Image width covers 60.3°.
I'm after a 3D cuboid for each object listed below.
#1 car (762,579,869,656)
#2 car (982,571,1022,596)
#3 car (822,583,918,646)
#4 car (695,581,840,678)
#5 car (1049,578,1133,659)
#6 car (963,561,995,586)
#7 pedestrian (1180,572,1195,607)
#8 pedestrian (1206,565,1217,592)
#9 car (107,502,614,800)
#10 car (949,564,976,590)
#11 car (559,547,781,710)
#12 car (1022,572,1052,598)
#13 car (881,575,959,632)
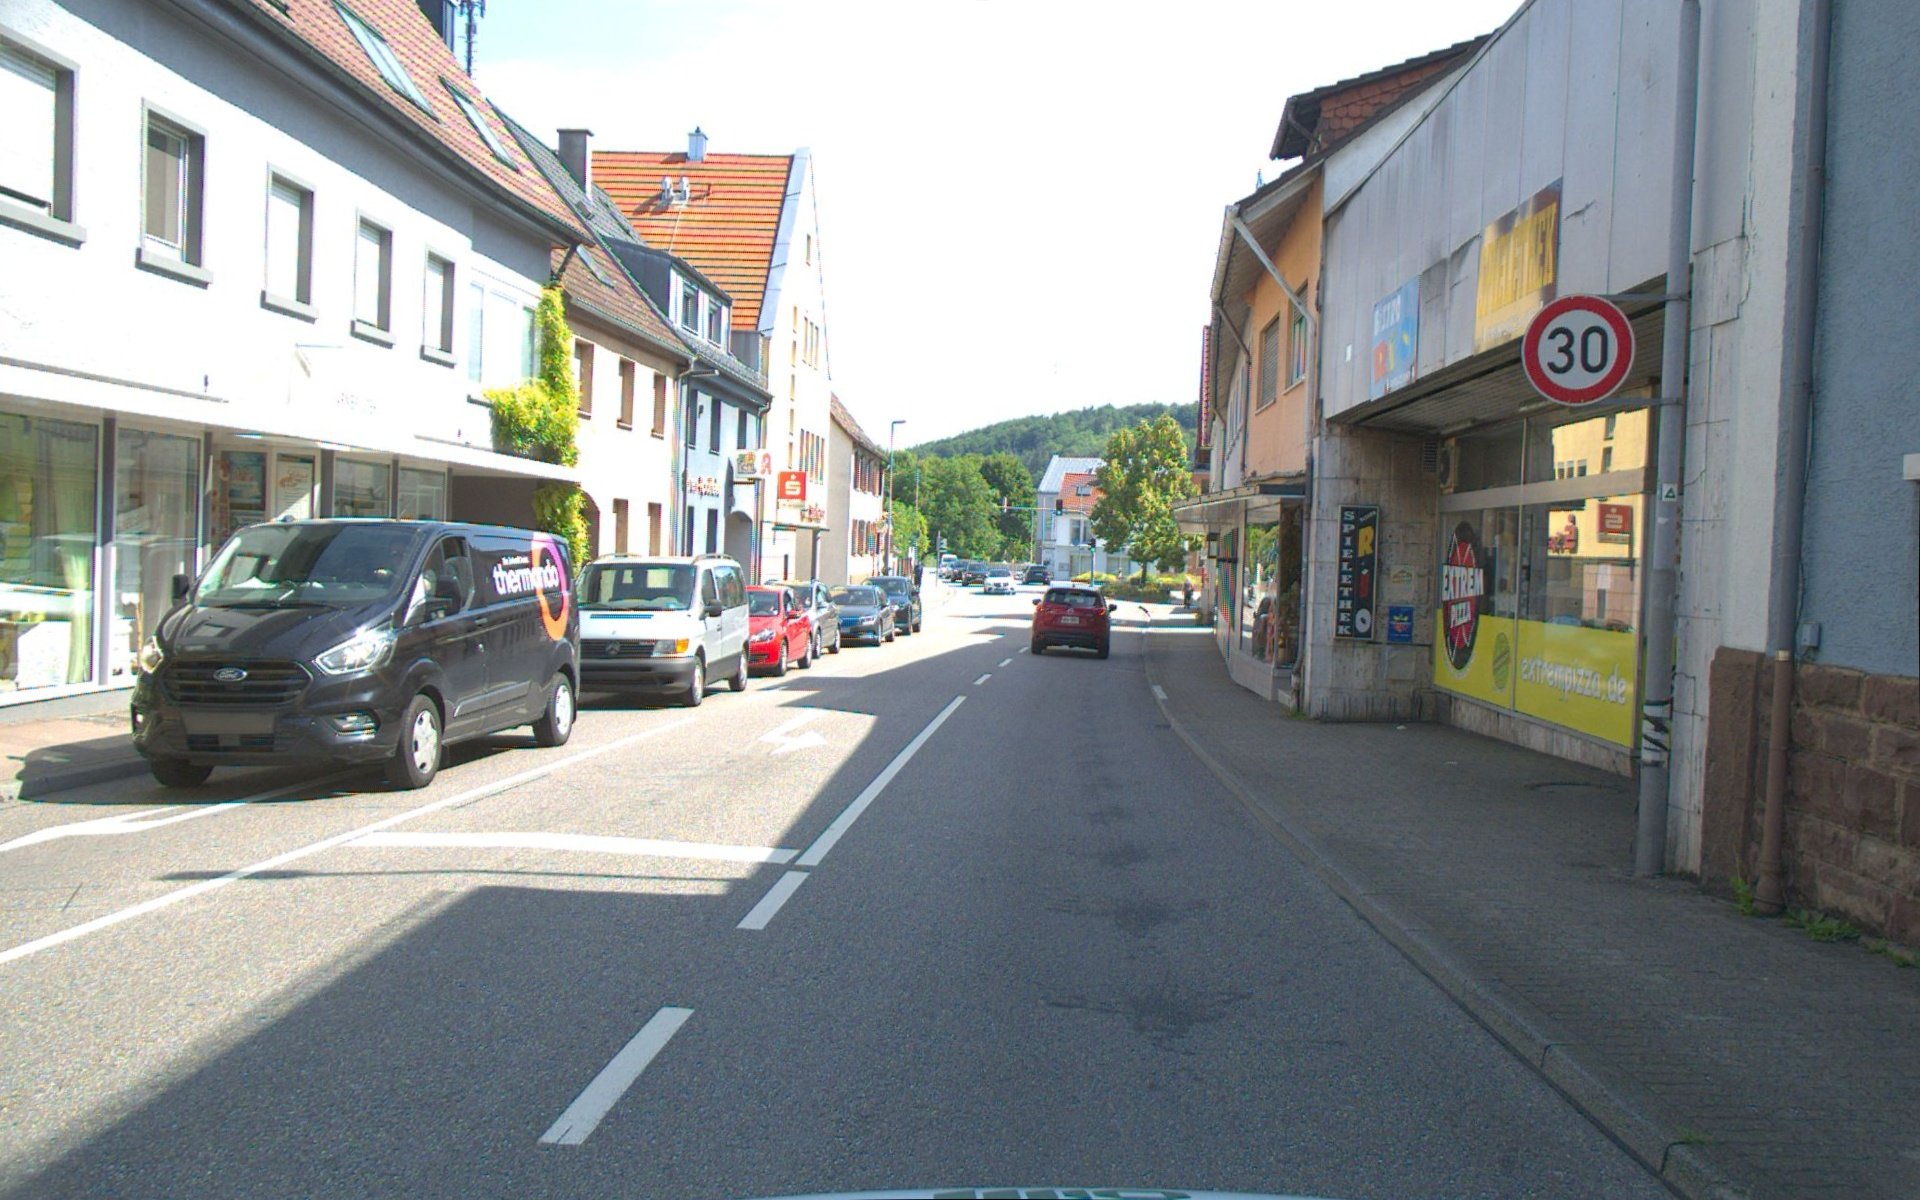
[{"bbox_3d":[-3.039,0.332,35.543,1.594,1.547,4.022,1,1,5],"label":"car"},{"bbox_3d":[2.572,-1.004,100.325,1.945,1.469,5.105,1,1,6],"label":"car"},{"bbox_3d":[-2.200,0.326,41.445,1.751,1.476,4.427,1,1,5],"label":"car"},{"bbox_3d":[-3.225,0.449,28.455,1.722,1.518,4.078,1,1,4],"label":"car"},{"bbox_3d":[3.178,0.395,39.900,1.820,1.744,4.425,3,1,5],"label":"car"},{"bbox_3d":[1.328,-1.838,115.084,1.800,1.559,4.256,2,3,6],"label":"car"},{"bbox_3d":[11.539,-0.542,84.042,0.629,1.737,0.700,1,-1,0],"label":"pedestrian"},{"bbox_3d":[18.124,-1.544,119.131,0.629,1.912,0.652,1,-1,0],"label":"pedestrian"},{"bbox_3d":[-4.535,0.309,13.587,2.114,1.956,5.167,1,1,2],"label":"car"},{"bbox_3d":[0.179,-1.708,126.398,1.737,1.816,3.841,1,-1,4],"label":"car"},{"bbox_3d":[-3.697,0.313,21.928,1.844,1.923,4.554,0,1,4],"label":"car"},{"bbox_3d":[5.788,-1.114,123.802,1.891,1.825,3.958,1,-1,7],"label":"car"},{"bbox_3d":[-1.153,0.075,49.628,1.828,1.617,4.521,1,1,5],"label":"car"}]
